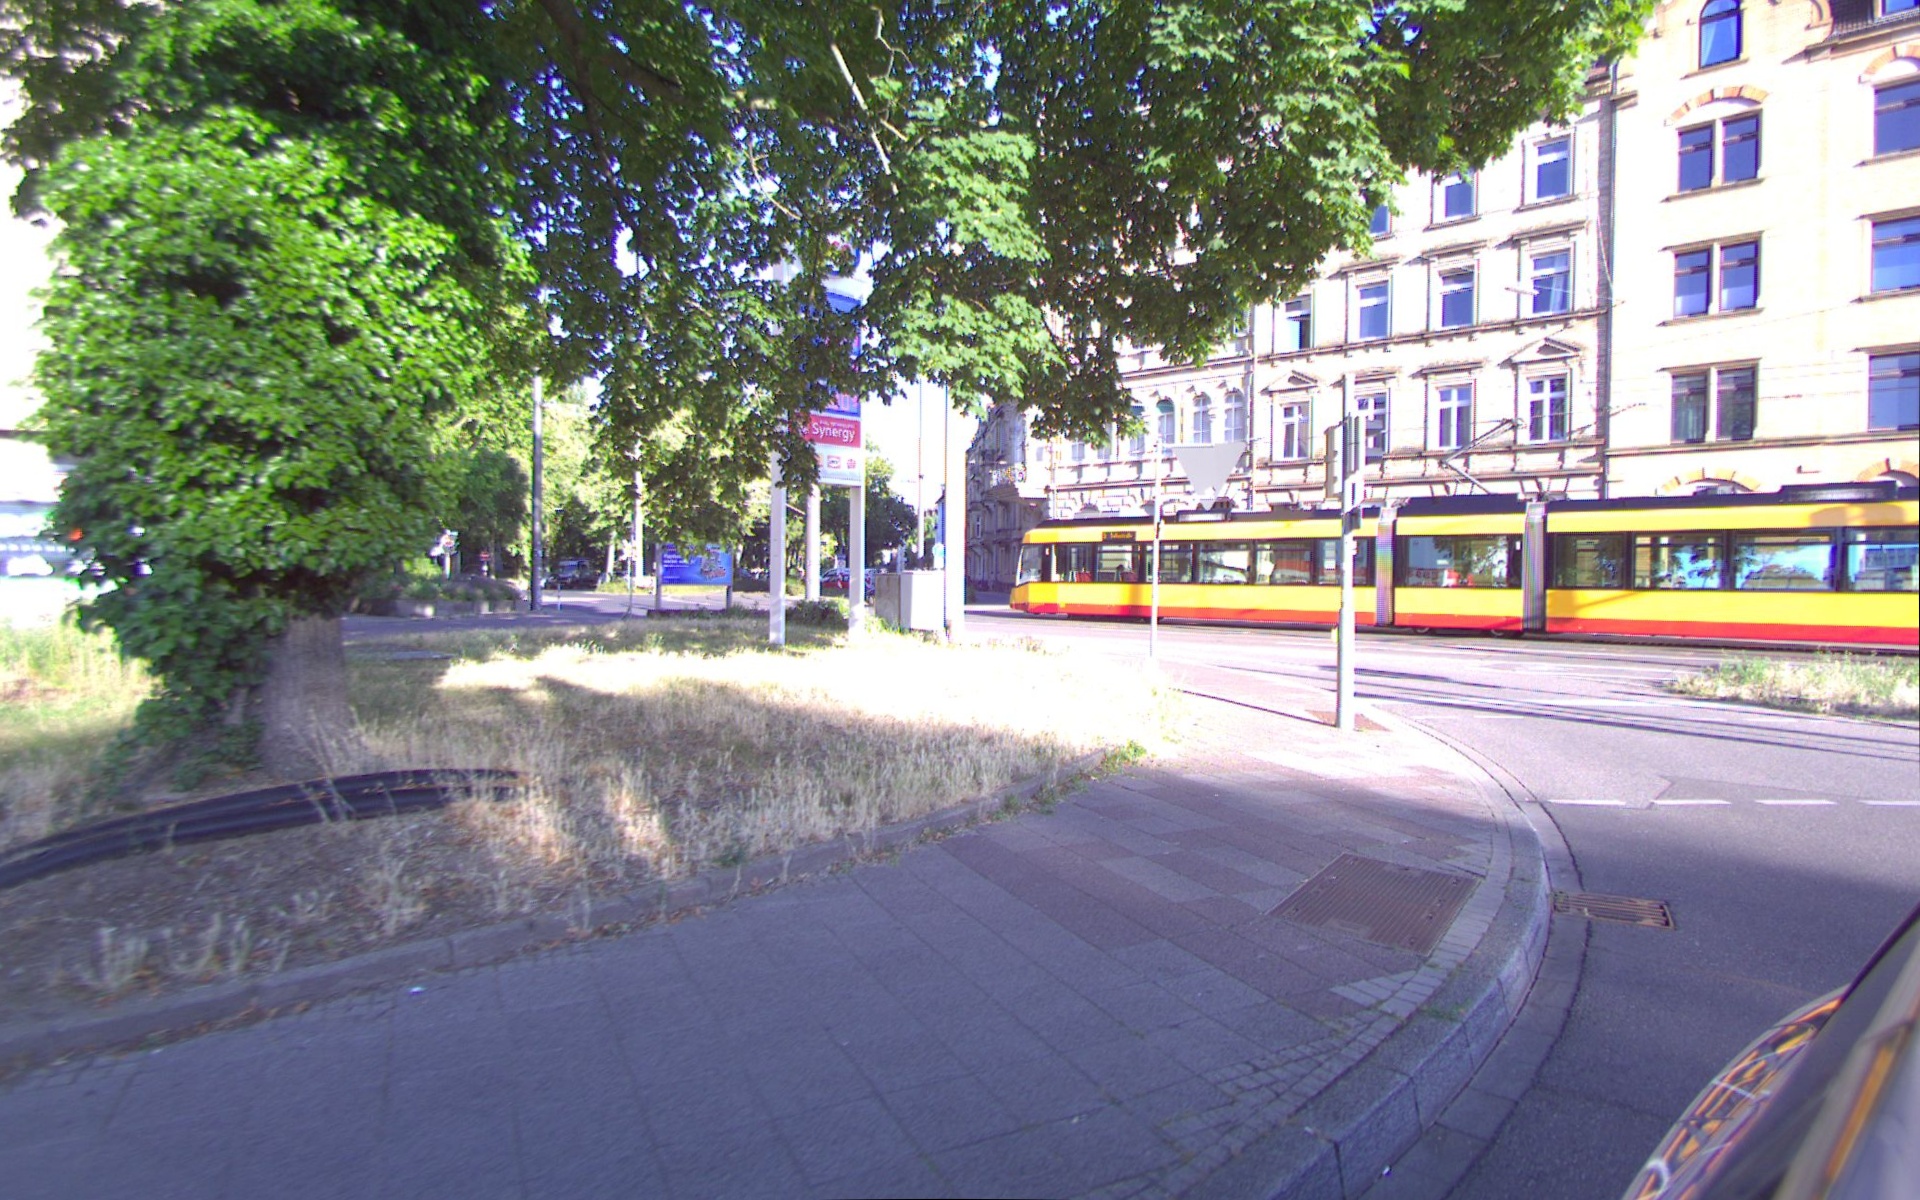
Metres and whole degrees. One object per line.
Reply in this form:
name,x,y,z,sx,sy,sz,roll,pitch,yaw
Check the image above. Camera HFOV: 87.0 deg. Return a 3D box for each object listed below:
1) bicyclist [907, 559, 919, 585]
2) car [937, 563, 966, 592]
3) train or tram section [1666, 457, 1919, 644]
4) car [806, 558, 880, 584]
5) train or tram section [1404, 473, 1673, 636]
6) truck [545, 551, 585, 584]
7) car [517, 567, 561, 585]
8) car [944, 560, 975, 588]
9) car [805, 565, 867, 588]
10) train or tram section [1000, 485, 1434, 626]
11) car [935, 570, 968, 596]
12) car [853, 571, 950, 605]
bicyclist,-3.358,-2.039,72.903,0.717,1.863,1.211,0,0,5
car,-0.642,-1.668,74.108,1.961,2.038,4.638,0,1,-2
train or tram section,20.454,-0.929,19.281,11.250,3.551,2.828,2,2,41
car,-8.521,-2.111,73.948,4.989,1.810,1.990,1,1,16
train or tram section,14.074,-1.067,24.782,5.281,3.551,2.828,2,1,41
truck,-34.767,-2.862,89.147,1.960,2.817,4.890,0,1,-5
car,-34.758,-1.994,83.630,1.915,1.415,3.999,1,1,2
car,-0.030,-1.627,63.130,1.706,1.682,3.997,1,1,3
car,-8.787,-1.661,71.602,3.944,1.526,1.860,1,1,16
train or tram section,7.147,-1.289,30.826,12.960,3.551,2.828,2,2,41
car,-0.468,-0.981,58.595,1.706,1.432,3.432,1,1,3
car,-2.576,-0.561,43.881,4.147,1.397,1.787,2,2,42
